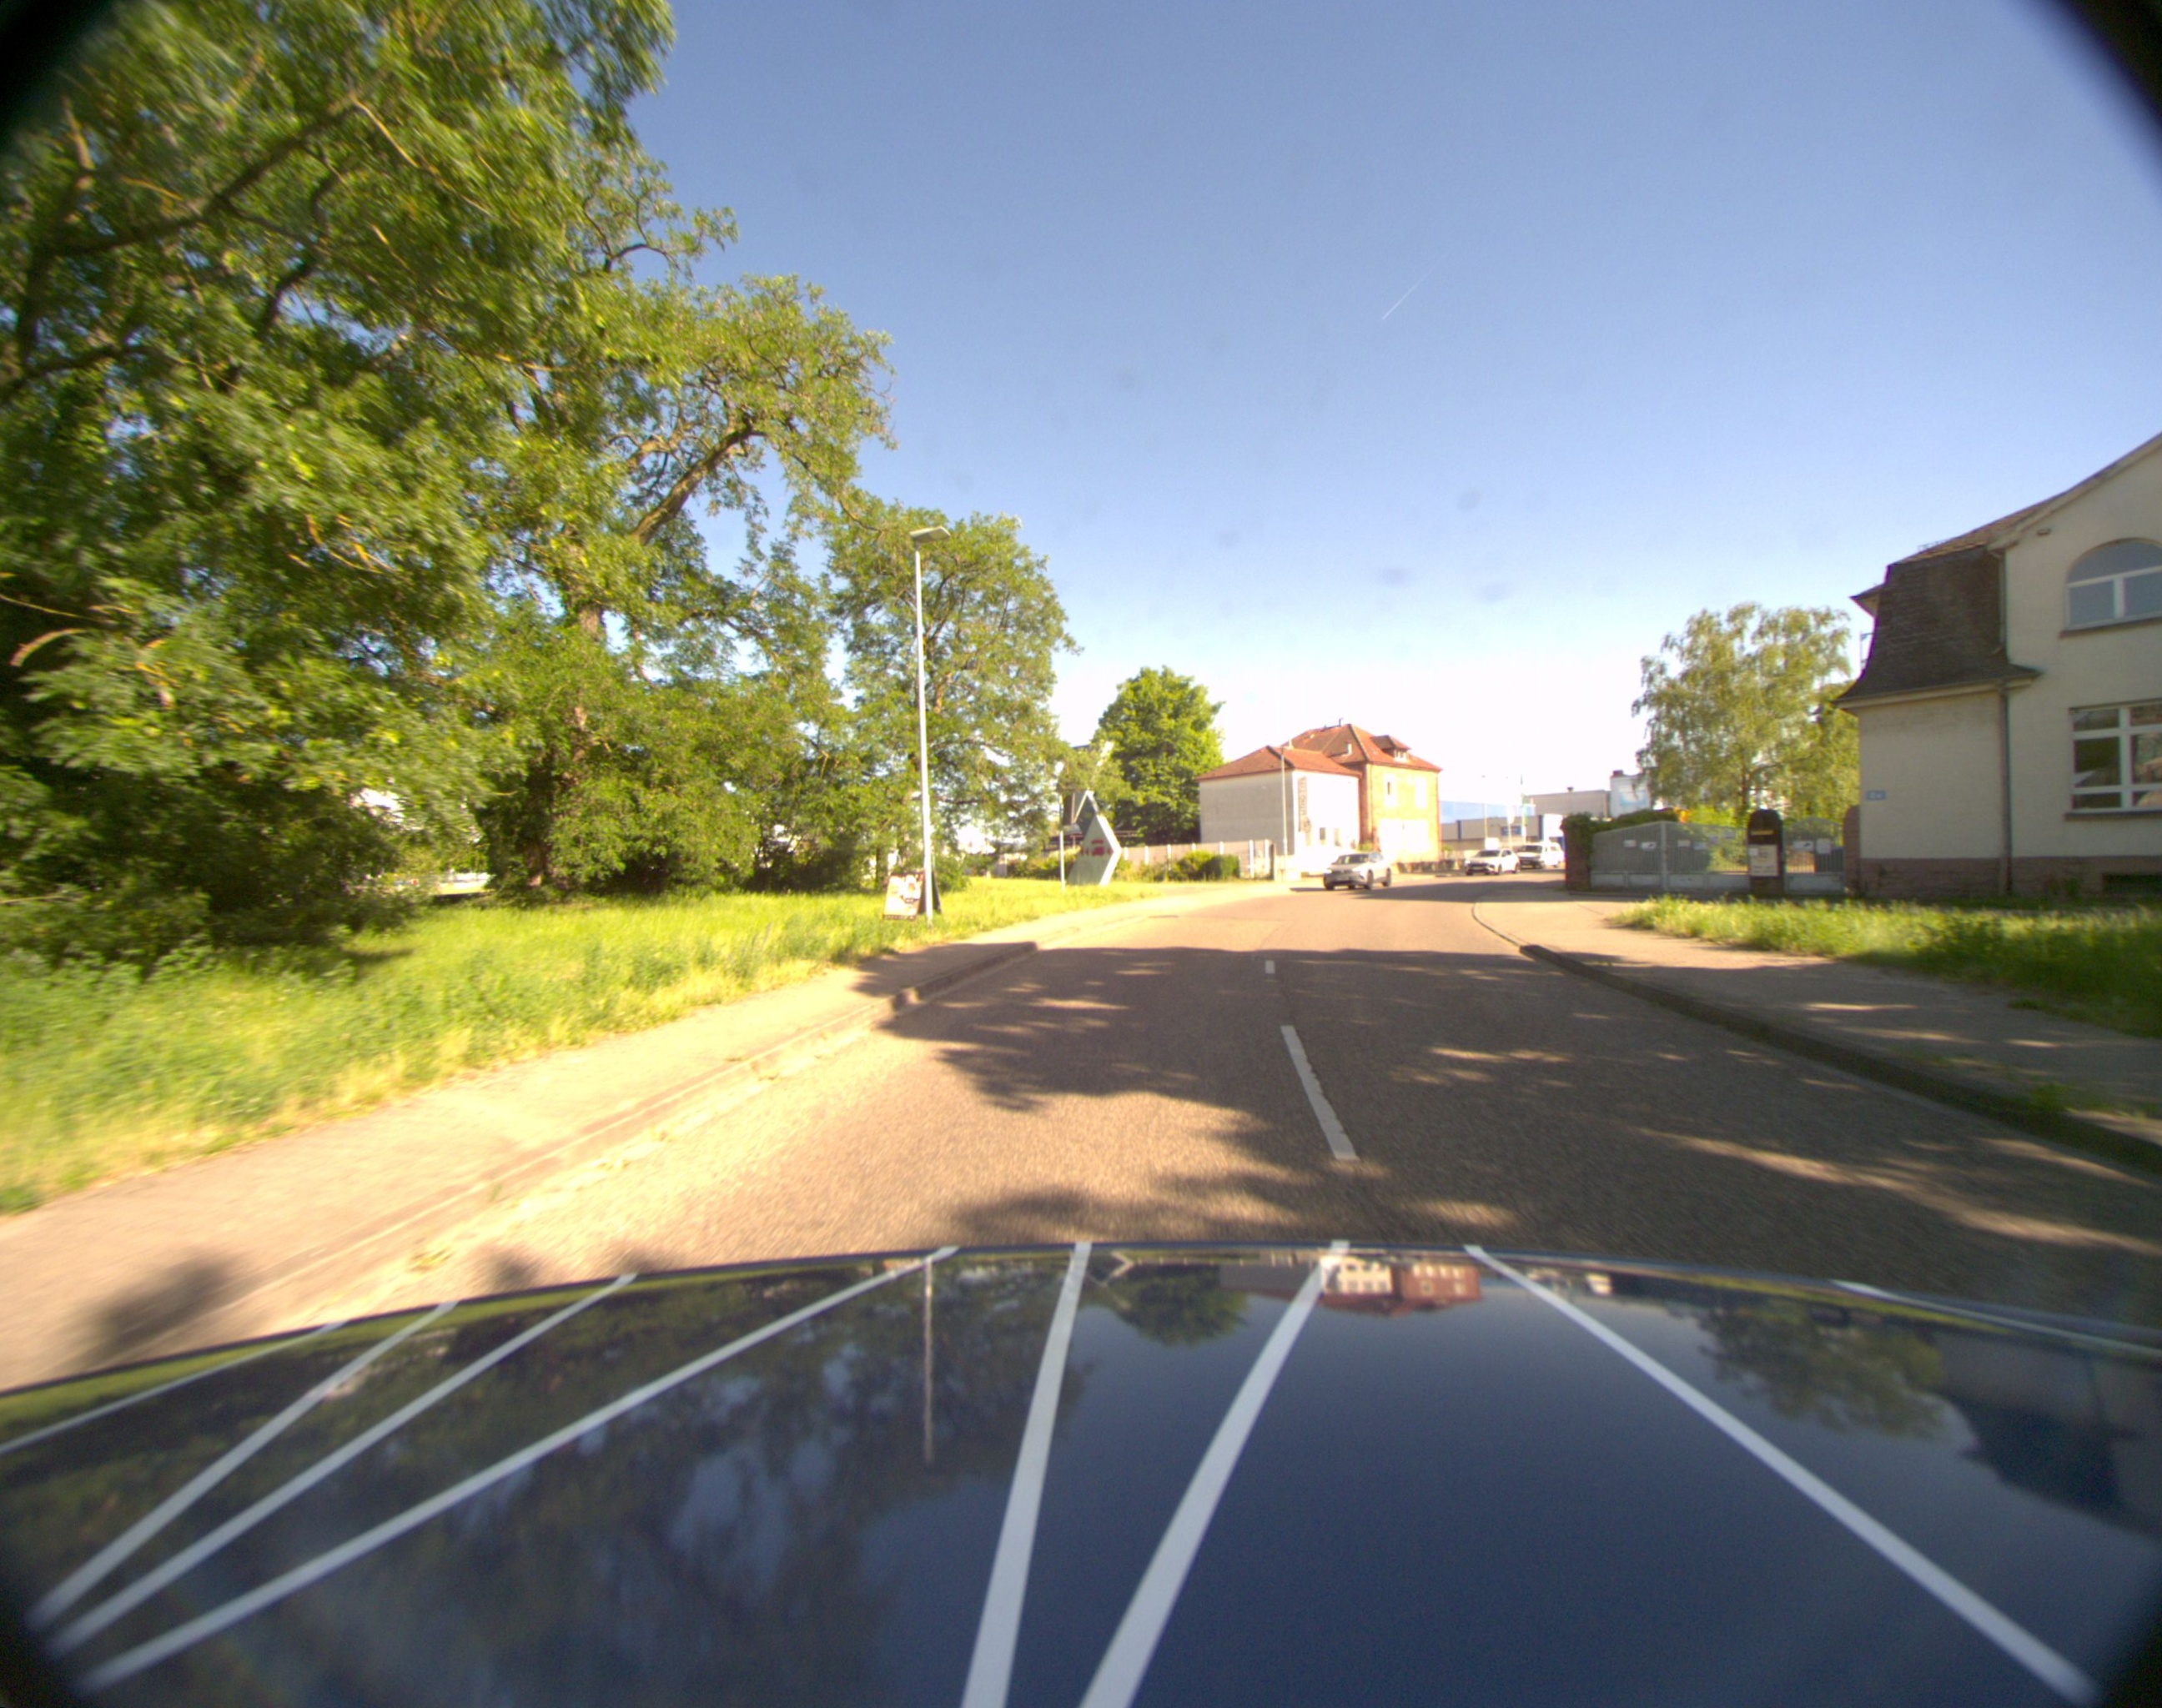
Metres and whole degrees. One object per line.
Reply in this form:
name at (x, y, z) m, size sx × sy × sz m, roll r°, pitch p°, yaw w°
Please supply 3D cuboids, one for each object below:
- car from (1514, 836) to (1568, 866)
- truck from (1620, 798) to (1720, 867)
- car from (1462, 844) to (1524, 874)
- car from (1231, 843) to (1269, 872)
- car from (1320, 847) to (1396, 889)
car at (34.528, -0.232, 56.972) m, size 4.723 × 2.001 × 1.847 m, roll -2°, pitch -3°, yaw -39°
truck at (35.841, -1.284, 46.122) m, size 8.022 × 3.596 × 2.845 m, roll -2°, pitch -5°, yaw -40°
car at (24.072, 0.292, 44.311) m, size 4.303 × 1.621 × 1.846 m, roll -2°, pitch 1°, yaw -42°
car at (11.326, 0.216, 51.176) m, size 1.997 × 1.767 × 4.367 m, roll -1°, pitch 0°, yaw 6°
car at (11.984, 0.564, 32.705) m, size 1.847 × 1.621 × 4.304 m, roll -4°, pitch -1°, yaw 37°
